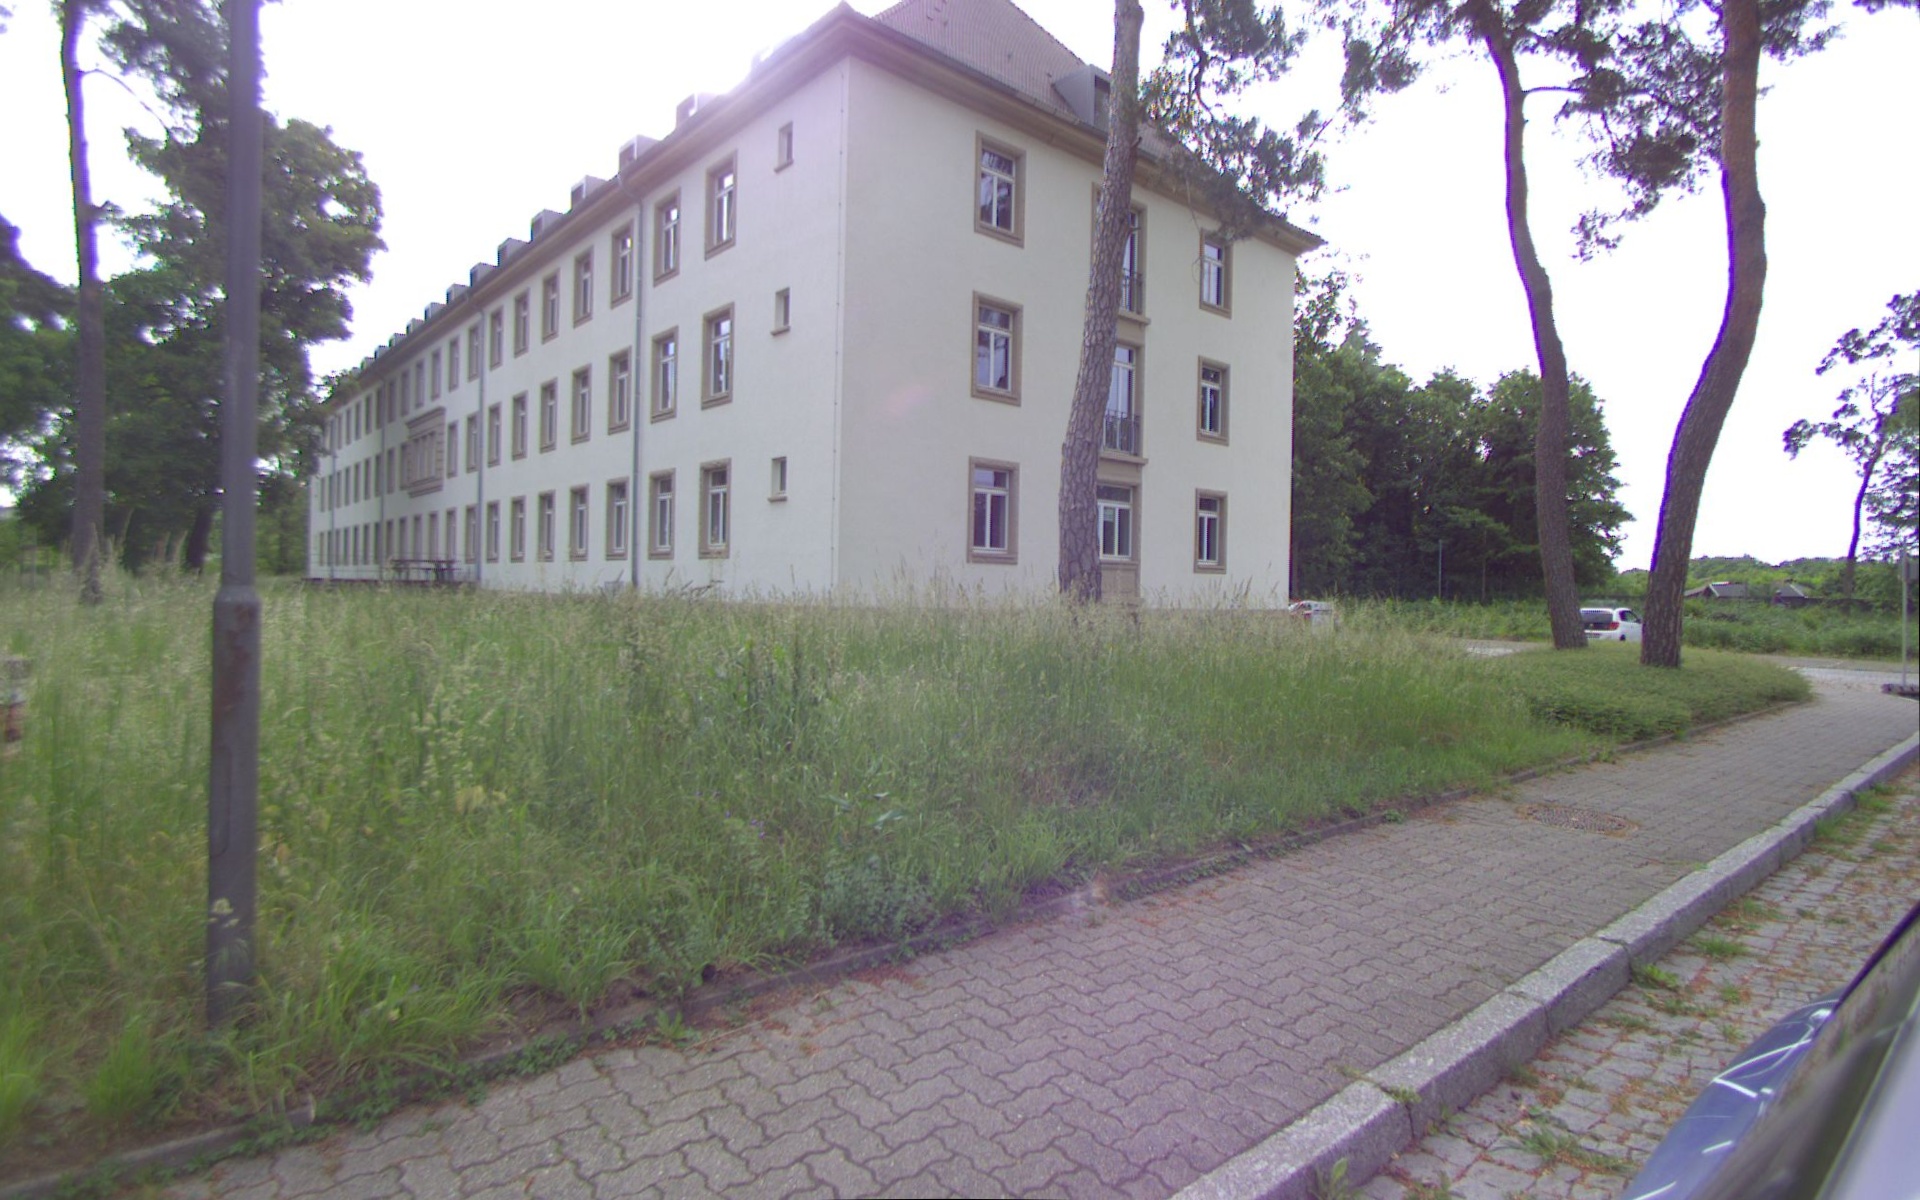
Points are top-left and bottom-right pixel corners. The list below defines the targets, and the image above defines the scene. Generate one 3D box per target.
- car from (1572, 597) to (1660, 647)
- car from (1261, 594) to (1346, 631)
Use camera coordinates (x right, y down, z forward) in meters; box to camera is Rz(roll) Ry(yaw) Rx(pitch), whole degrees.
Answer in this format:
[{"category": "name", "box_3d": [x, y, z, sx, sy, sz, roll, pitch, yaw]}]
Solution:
[{"category": "car", "box_3d": [21.899, 0.696, 33.768, 3.221, 1.452, 1.640, -2, 3, -41]}, {"category": "car", "box_3d": [14.329, 0.481, 42.151, 3.931, 1.345, 1.640, -2, 2, -41]}]
